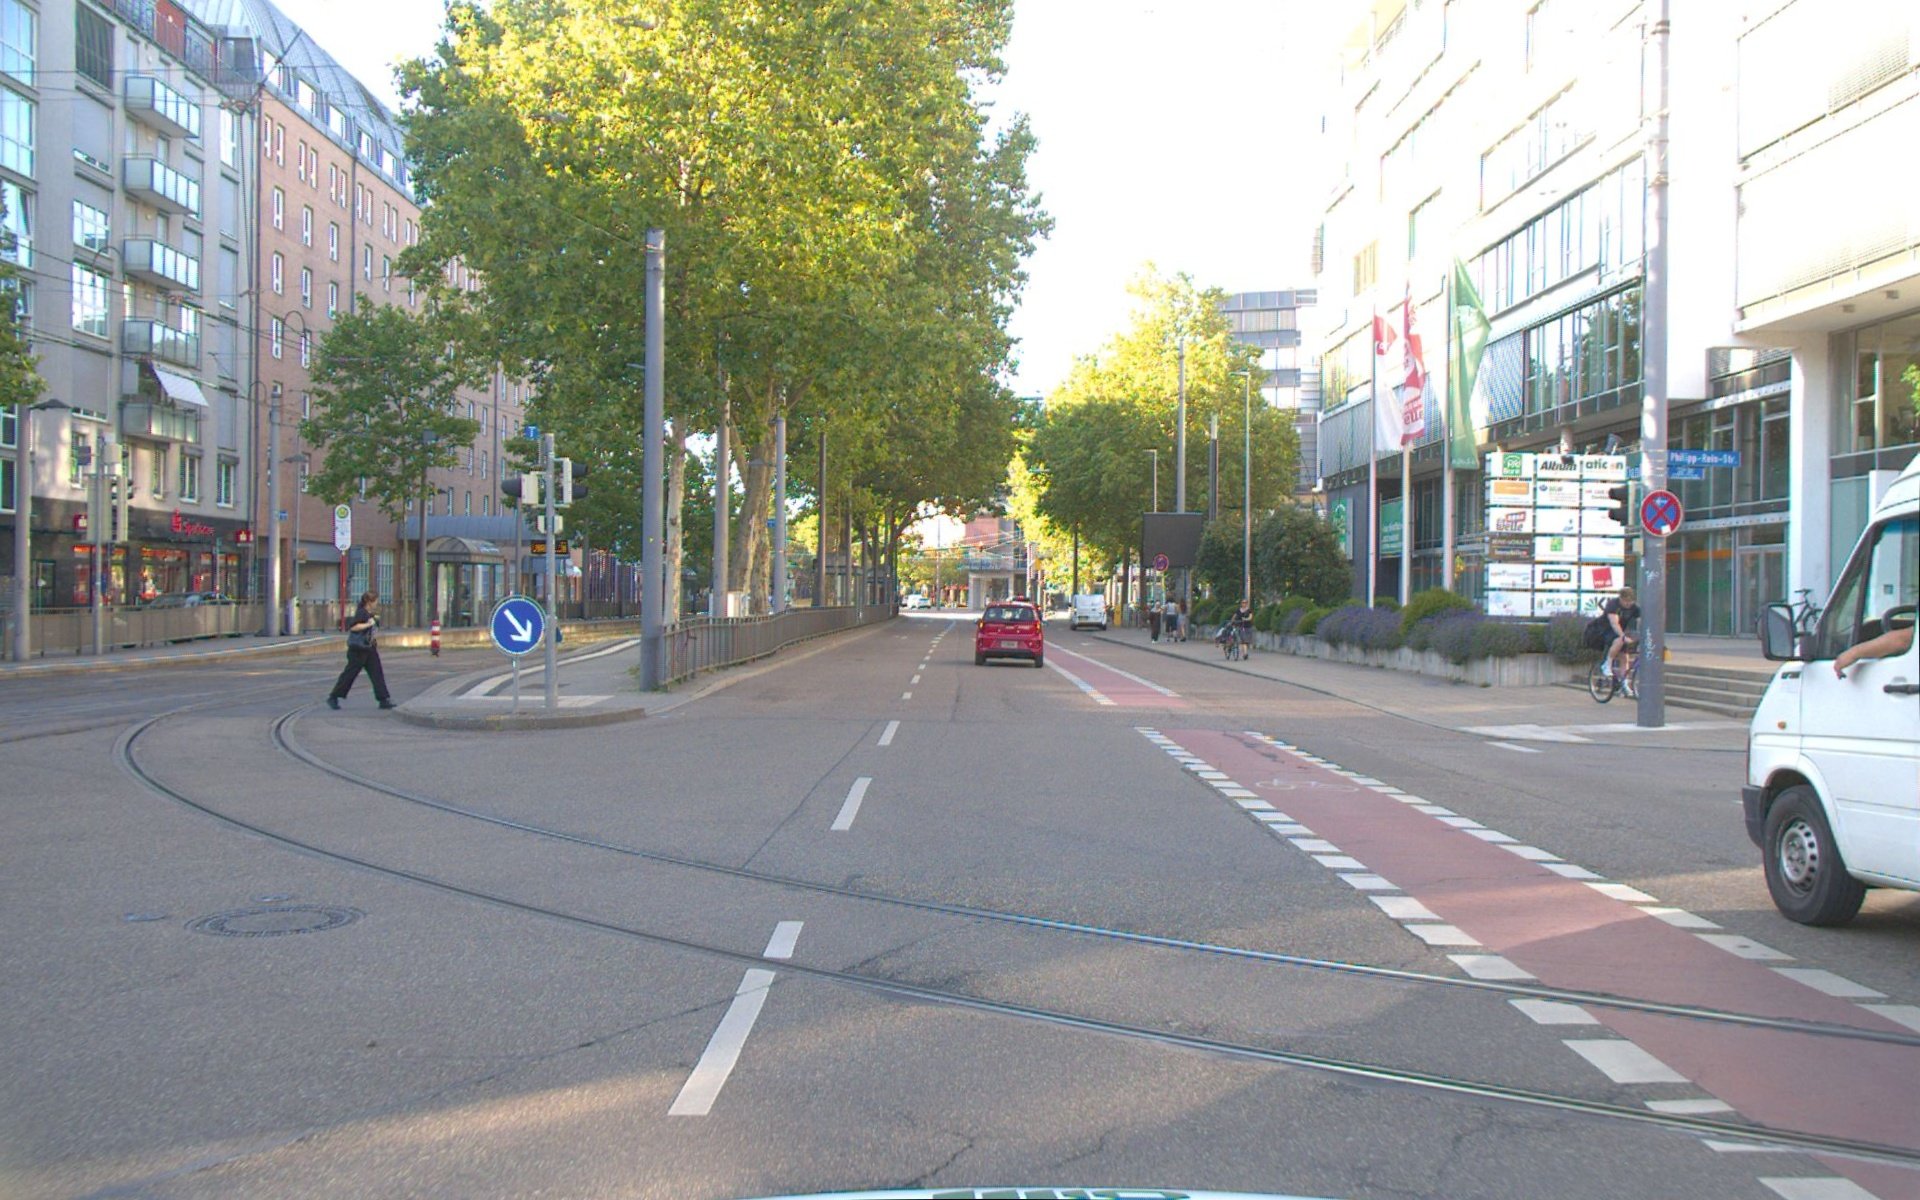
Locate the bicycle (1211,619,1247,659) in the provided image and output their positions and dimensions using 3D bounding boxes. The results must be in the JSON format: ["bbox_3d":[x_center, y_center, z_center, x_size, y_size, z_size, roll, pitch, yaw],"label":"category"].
[{"bbox_3d":[7.288,1.043,44.899,0.510,0.992,2.201,-3,1,-1],"label":"bicycle"}]

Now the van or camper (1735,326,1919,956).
[{"bbox_3d":[5.174,0.198,5.787,1.928,2.763,6.304,1,0,0],"label":"van or camper"}]

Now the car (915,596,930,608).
[{"bbox_3d":[-5.017,0.282,219.358,1.743,1.561,3.408,1,0,-5],"label":"car"}]

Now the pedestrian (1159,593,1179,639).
[{"bbox_3d":[8.143,0.624,64.355,0.553,1.732,0.906,-3,0,-2],"label":"pedestrian"}]

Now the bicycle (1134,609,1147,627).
[{"bbox_3d":[10.893,1.101,99.889,0.574,1.086,1.899,-1,0,-1],"label":"bicycle"}]

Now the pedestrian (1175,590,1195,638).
[{"bbox_3d":[8.747,0.524,64.389,0.529,1.827,0.906,-3,0,-2],"label":"pedestrian"}]

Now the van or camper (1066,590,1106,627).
[{"bbox_3d":[7.161,0.459,94.414,1.952,2.024,4.745,1,0,1],"label":"van or camper"}]

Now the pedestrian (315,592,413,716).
[{"bbox_3d":[-7.705,0.686,21.404,1.025,1.571,0.694,0,0,-4],"label":"pedestrian"}]

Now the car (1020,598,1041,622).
[{"bbox_3d":[5.527,0.798,129.524,1.601,1.831,3.330,0,0,2],"label":"car"}]

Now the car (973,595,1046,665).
[{"bbox_3d":[1.134,0.672,39.211,1.580,1.561,3.411,1,0,0],"label":"car"}]

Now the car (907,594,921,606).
[{"bbox_3d":[-6.328,-0.042,225.940,1.743,1.561,3.408,1,0,-5],"label":"car"}]

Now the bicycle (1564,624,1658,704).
[{"bbox_3d":[10.002,0.969,25.487,0.682,1.117,1.750,-3,0,-1],"label":"bicycle"}]

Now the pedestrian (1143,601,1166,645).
[{"bbox_3d":[7.466,0.877,63.369,0.630,1.607,0.722,-3,0,-8],"label":"pedestrian"}]

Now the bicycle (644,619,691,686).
[{"bbox_3d":[-4.596,0.813,26.070,0.387,0.965,1.352,0,2,5],"label":"bicycle"}]

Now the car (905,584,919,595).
[{"bbox_3d":[-6.755,-1.477,231.953,1.743,1.616,3.408,1,0,-5],"label":"car"}]

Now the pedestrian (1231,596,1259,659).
[{"bbox_3d":[7.744,0.738,44.958,0.633,1.710,0.651,0,0,-2],"label":"pedestrian"}]

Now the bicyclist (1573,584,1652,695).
[{"bbox_3d":[9.993,0.590,25.361,0.707,1.631,1.088,-2,0,-1],"label":"bicyclist"}]

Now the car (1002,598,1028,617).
[{"bbox_3d":[4.574,0.624,137.763,1.743,1.561,3.508,1,0,-5],"label":"car"}]

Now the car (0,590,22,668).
[{"bbox_3d":[-20.800,0.602,32.867,1.915,1.623,4.260,0,0,-1],"label":"car"}]
